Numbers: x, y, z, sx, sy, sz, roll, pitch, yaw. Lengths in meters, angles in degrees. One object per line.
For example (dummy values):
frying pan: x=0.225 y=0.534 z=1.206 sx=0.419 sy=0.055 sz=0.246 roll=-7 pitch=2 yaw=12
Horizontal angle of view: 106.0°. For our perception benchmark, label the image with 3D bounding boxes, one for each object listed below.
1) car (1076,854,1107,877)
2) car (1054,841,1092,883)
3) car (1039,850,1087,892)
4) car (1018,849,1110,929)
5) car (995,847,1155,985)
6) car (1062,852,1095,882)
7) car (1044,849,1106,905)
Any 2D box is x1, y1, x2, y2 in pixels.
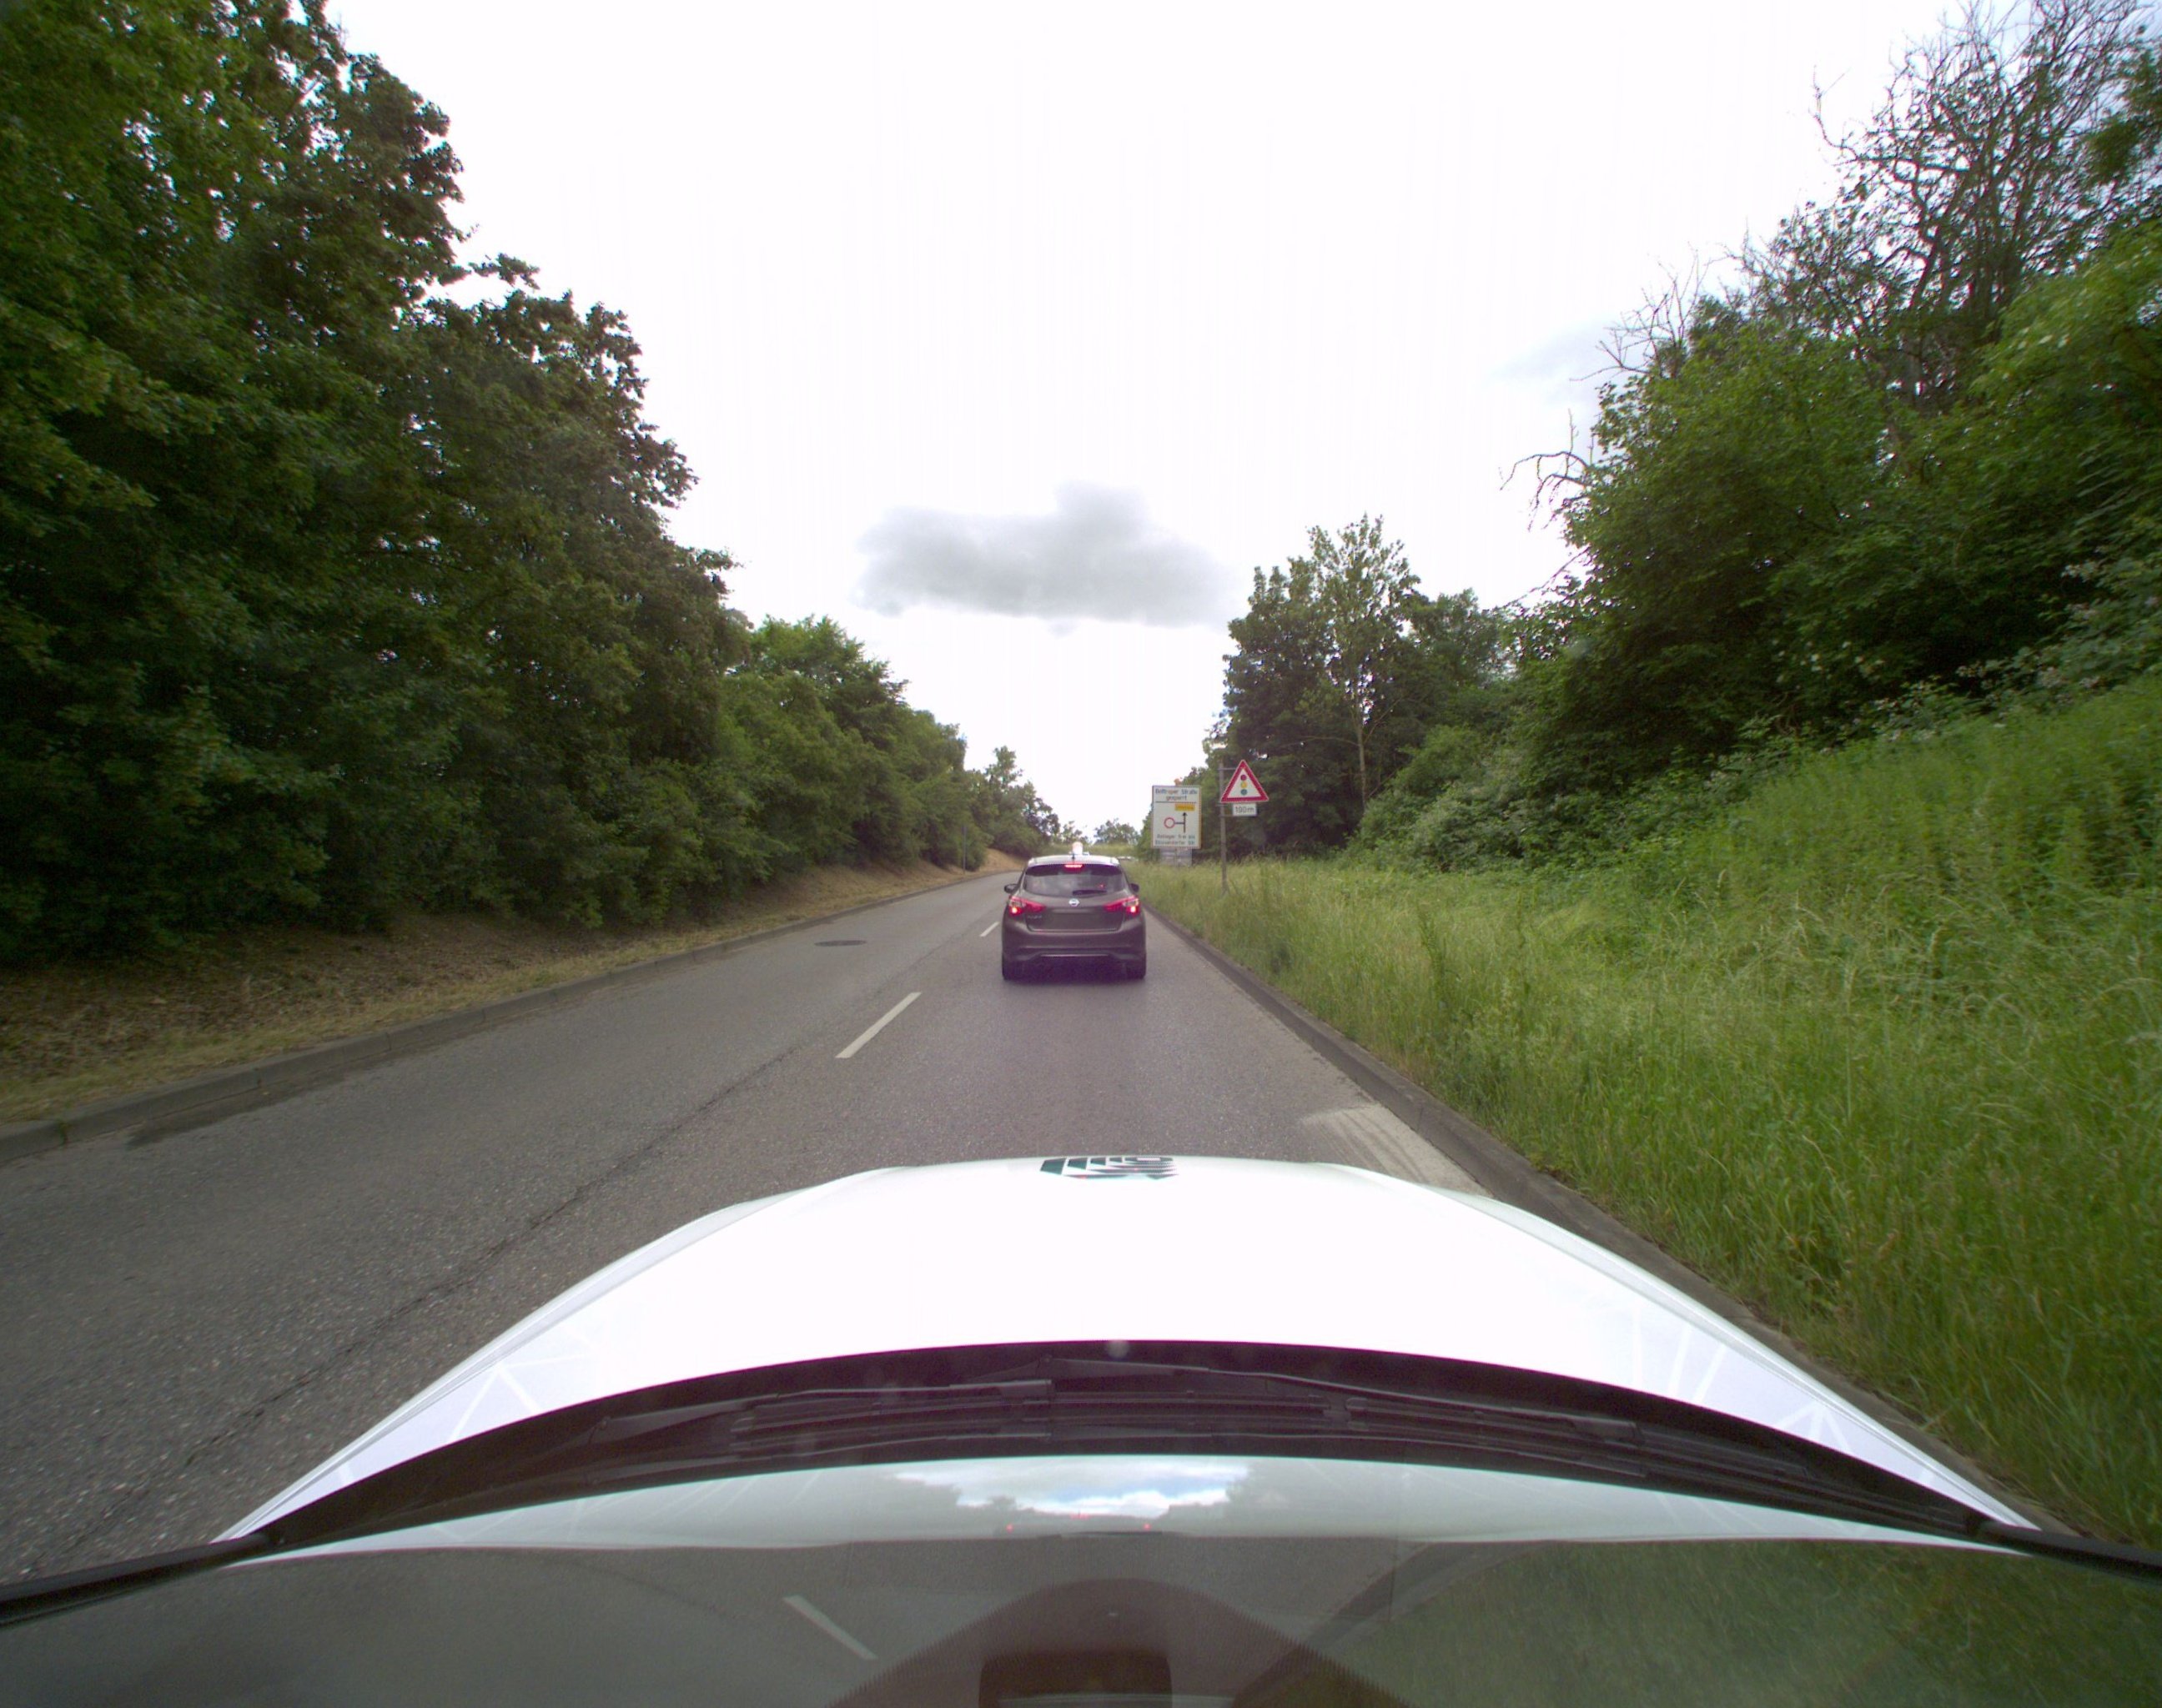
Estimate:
car: x=0.808 y=0.799 z=59.127 sx=1.726 sy=1.526 sz=3.650 roll=-1 pitch=0 yaw=9
car: x=-0.342 y=0.365 z=39.579 sx=1.730 sy=1.935 sz=3.544 roll=-1 pitch=0 yaw=1
car: x=-0.663 y=0.644 z=32.525 sx=1.730 sy=1.556 sz=3.543 roll=-1 pitch=0 yaw=1
car: x=-0.317 y=0.701 z=18.162 sx=1.824 sy=1.556 sz=3.625 roll=-1 pitch=0 yaw=1
car: x=-0.099 y=0.703 z=11.085 sx=1.825 sy=1.556 sz=3.497 roll=0 pitch=0 yaw=-1
car: x=-0.170 y=0.692 z=45.361 sx=1.731 sy=1.526 sz=3.542 roll=-1 pitch=0 yaw=-1
car: x=-0.146 y=0.641 z=24.818 sx=1.730 sy=1.556 sz=3.543 roll=-1 pitch=0 yaw=1
